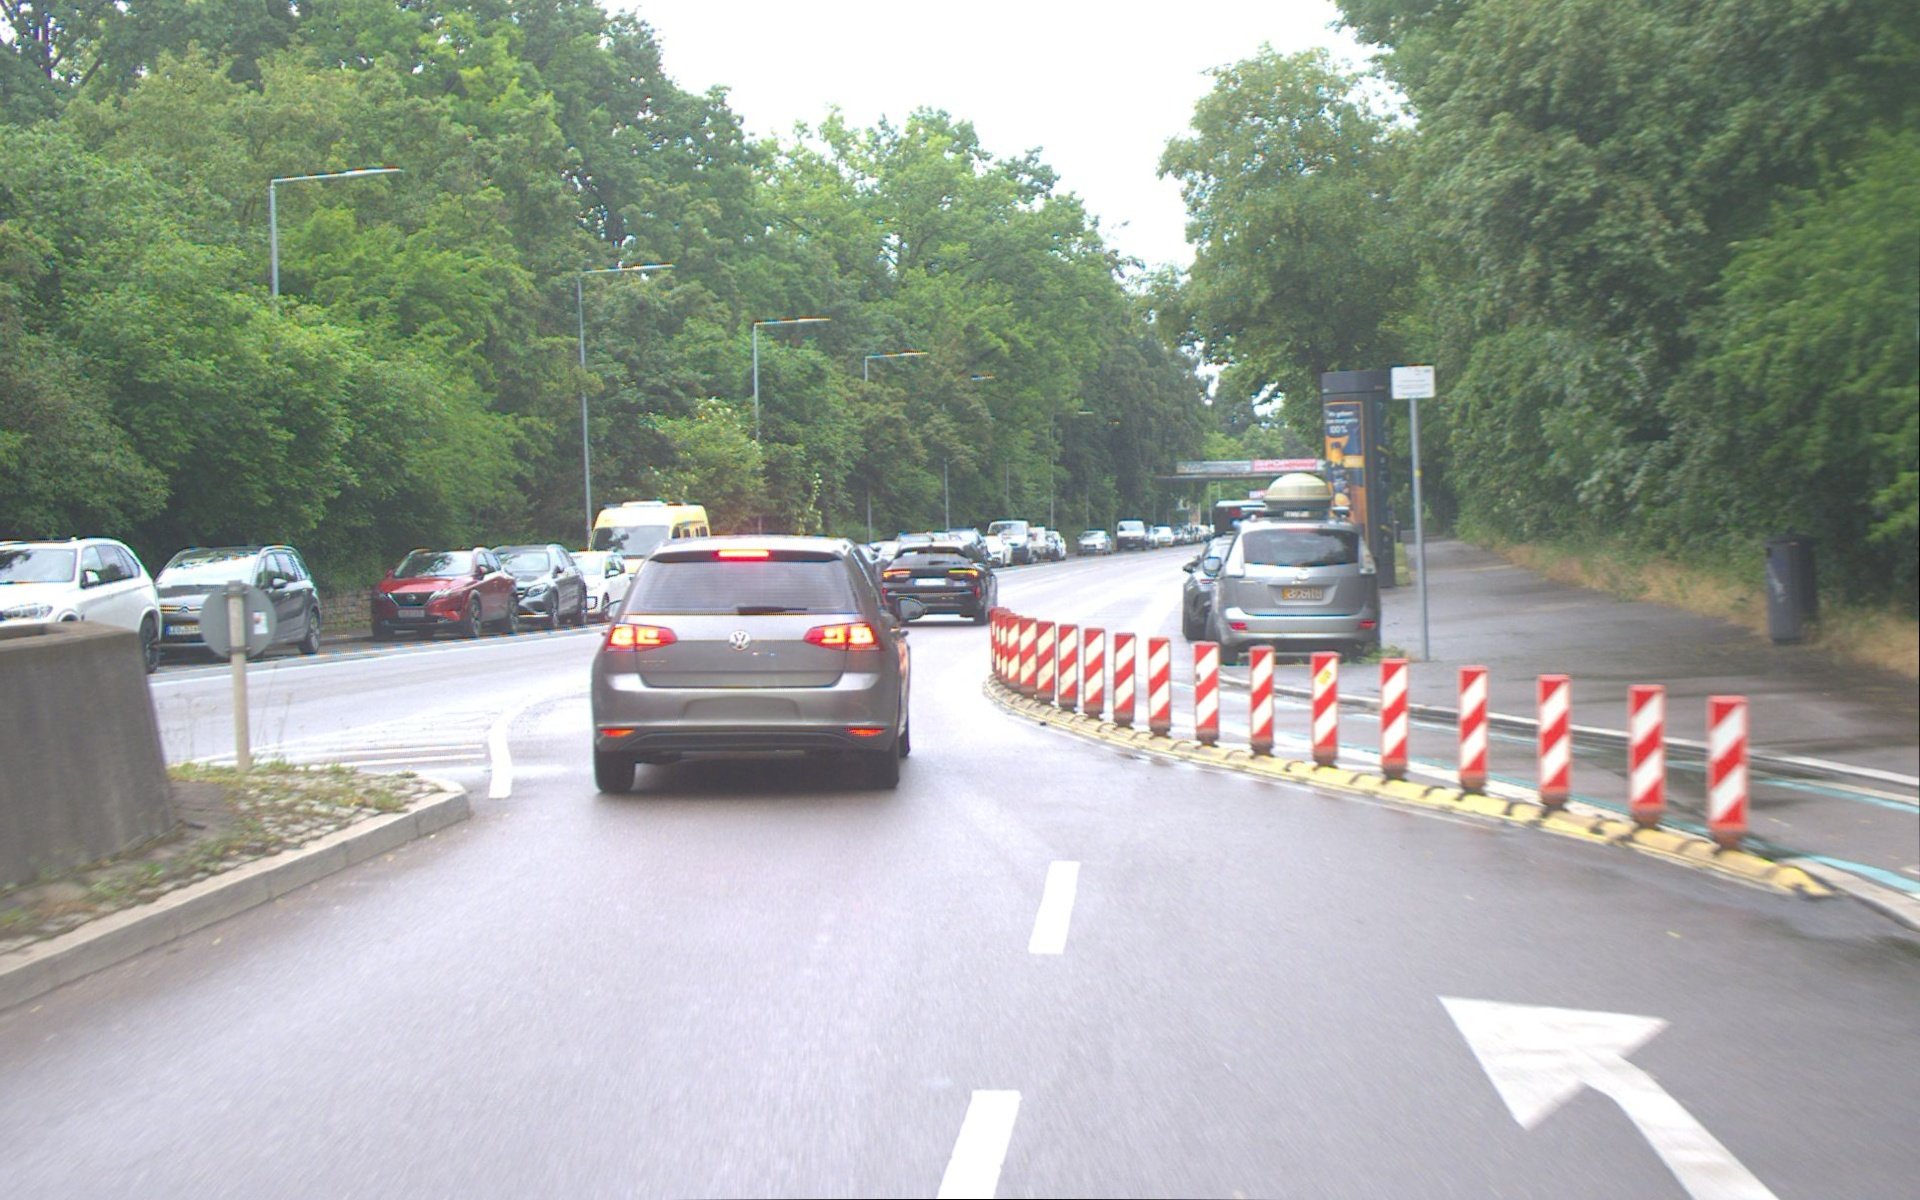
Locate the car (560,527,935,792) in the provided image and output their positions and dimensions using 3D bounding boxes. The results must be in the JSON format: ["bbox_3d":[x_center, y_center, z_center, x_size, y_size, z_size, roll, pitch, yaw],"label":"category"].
[{"bbox_3d":[-1.167,0.317,20.776,1.871,1.436,4.296,0,0,2],"label":"car"}]

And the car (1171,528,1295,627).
[{"bbox_3d":[4.324,-0.386,54.306,1.856,1.450,4.750,-1,1,5],"label":"car"}]

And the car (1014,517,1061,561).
[{"bbox_3d":[3.710,-2.919,163.083,1.940,2.007,4.740,-1,1,4],"label":"car"}]

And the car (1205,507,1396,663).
[{"bbox_3d":[3.726,-0.194,38.200,1.822,1.609,4.252,-1,1,2],"label":"car"}]

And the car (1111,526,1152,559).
[{"bbox_3d":[11.109,-3.695,222.113,2.159,2.007,5.029,-2,1,8],"label":"car"}]

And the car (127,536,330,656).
[{"bbox_3d":[-10.655,-0.096,50.408,1.731,1.643,4.571,-1,1,3],"label":"car"}]

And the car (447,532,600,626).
[{"bbox_3d":[-8.511,-0.444,67.369,1.994,1.694,4.615,-2,1,5],"label":"car"}]

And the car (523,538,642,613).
[{"bbox_3d":[-7.913,-0.532,72.388,1.618,1.443,3.656,-3,1,7],"label":"car"}]

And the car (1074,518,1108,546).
[{"bbox_3d":[7.509,-3.923,197.259,1.673,1.508,3.630,-1,2,6],"label":"car"}]

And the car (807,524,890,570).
[{"bbox_3d":[-3.361,-1.618,104.412,1.870,1.299,4.469,-1,1,6],"label":"car"}]

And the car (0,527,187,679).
[{"bbox_3d":[-11.405,0.008,42.679,1.994,1.759,4.959,-1,1,6],"label":"car"}]

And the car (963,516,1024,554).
[{"bbox_3d":[1.396,-2.713,142.912,1.994,1.483,4.467,-1,1,7],"label":"car"}]

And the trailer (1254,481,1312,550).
[{"bbox_3d":[12.472,-3.275,133.009,2.132,2.551,4.297,-1,1,5],"label":"trailer"}]

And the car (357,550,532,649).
[{"bbox_3d":[-9.230,-0.038,61.916,1.919,1.611,4.489,-2,1,7],"label":"car"}]

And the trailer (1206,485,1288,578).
[{"bbox_3d":[7.260,-1.742,86.766,1.906,2.240,4.767,-1,1,6],"label":"trailer"}]

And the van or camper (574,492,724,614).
[{"bbox_3d":[-7.074,-1.113,78.808,2.144,2.618,5.681,-2,1,8],"label":"van or camper"}]

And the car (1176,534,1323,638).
[{"bbox_3d":[4.028,-0.225,48.334,1.853,1.394,4.385,0,1,2],"label":"car"}]

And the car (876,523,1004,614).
[{"bbox_3d":[-0.305,-0.562,58.477,1.881,1.461,4.000,0,2,4],"label":"car"}]

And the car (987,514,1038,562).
[{"bbox_3d":[2.345,-2.762,152.427,1.940,2.007,4.740,-1,1,4],"label":"car"}]

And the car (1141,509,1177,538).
[{"bbox_3d":[14.260,-5.495,246.268,2.159,2.007,5.029,-2,1,8],"label":"car"}]

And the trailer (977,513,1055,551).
[{"bbox_3d":[2.577,-3.121,157.282,1.629,1.623,3.665,-1,2,38],"label":"trailer"}]
